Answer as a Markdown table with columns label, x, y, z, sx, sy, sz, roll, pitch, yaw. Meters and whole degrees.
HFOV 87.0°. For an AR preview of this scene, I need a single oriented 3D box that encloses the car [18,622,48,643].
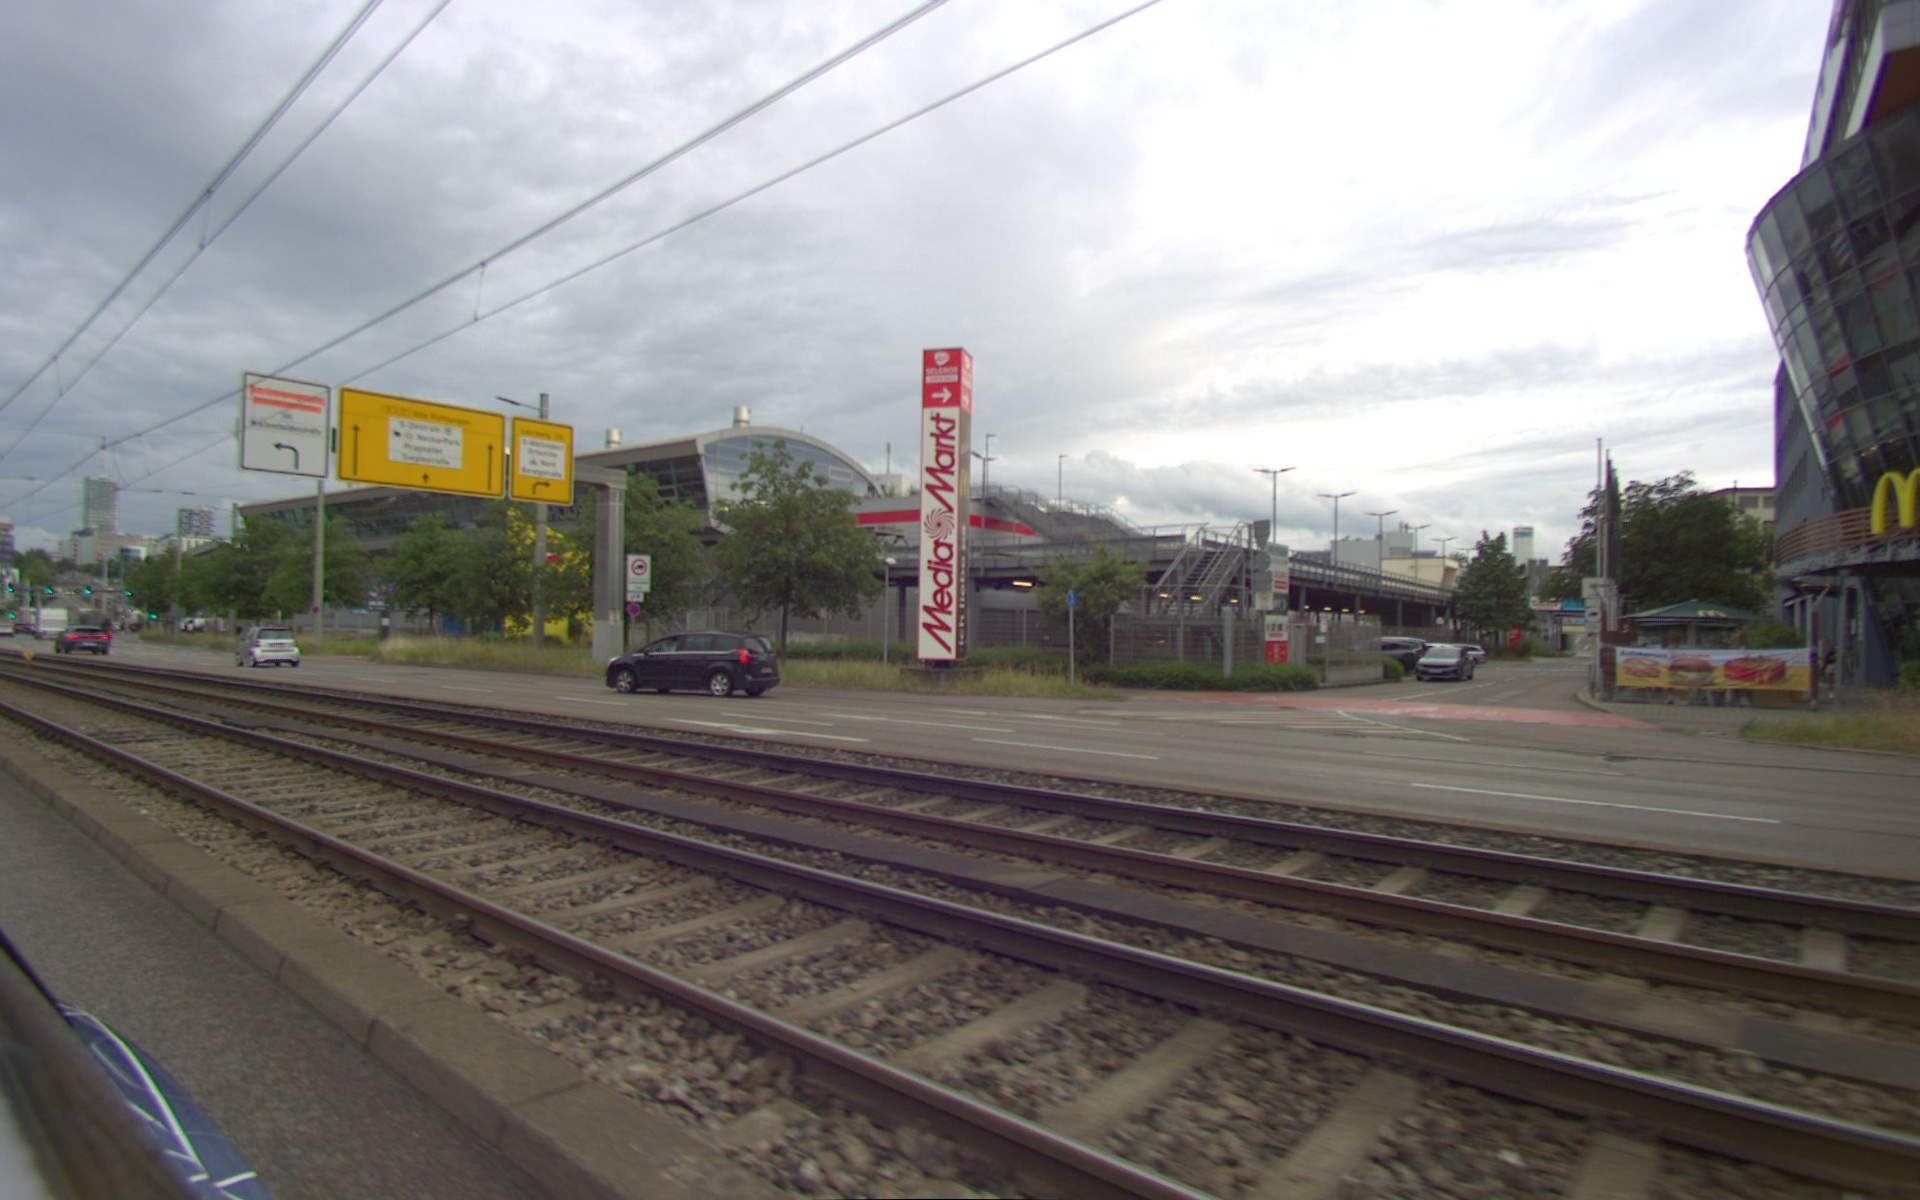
| label | x | y | z | sx | sy | sz | roll | pitch | yaw |
| --- | --- | --- | --- | --- | --- | --- | --- | --- | --- |
| car | -116.784 | 4.156 | 127.433 | 6.550 | 2.519 | 2.405 | -2 | -4 | 45 |

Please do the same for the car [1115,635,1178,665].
| label | x | y | z | sx | sy | sz | roll | pitch | yaw |
| --- | --- | --- | --- | --- | --- | --- | --- | --- | --- |
| car | 9.506 | 2.549 | 51.923 | 1.636 | 1.292 | 4.119 | -1 | 0 | -13 |

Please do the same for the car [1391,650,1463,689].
| label | x | y | z | sx | sy | sz | roll | pitch | yaw |
| --- | --- | --- | --- | --- | --- | --- | --- | --- | --- |
| car | 19.128 | 2.858 | 41.372 | 1.728 | 1.476 | 3.947 | -1 | -5 | 39 |

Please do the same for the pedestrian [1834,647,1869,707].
| label | x | y | z | sx | sy | sz | roll | pitch | yaw |
| --- | --- | --- | --- | --- | --- | --- | --- | --- | --- |
| pedestrian | 26.071 | 2.239 | 29.604 | 0.579 | 1.692 | 0.801 | -1 | -3 | 30 |

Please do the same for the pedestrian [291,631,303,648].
| label | x | y | z | sx | sy | sz | roll | pitch | yaw |
| --- | --- | --- | --- | --- | --- | --- | --- | --- | --- |
| pedestrian | -59.748 | 3.570 | 91.209 | 0.744 | 1.450 | 0.602 | -1 | 0 | 36 |

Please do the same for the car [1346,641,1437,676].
| label | x | y | z | sx | sy | sz | roll | pitch | yaw |
| --- | --- | --- | --- | --- | --- | --- | --- | --- | --- |
| car | 21.324 | 2.896 | 50.170 | 3.966 | 1.638 | 1.773 | -1 | -1 | 18 |

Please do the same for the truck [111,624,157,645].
| label | x | y | z | sx | sy | sz | roll | pitch | yaw |
| --- | --- | --- | --- | --- | --- | --- | --- | --- | --- |
| truck | -157.844 | 6.609 | 193.529 | 4.022 | 3.785 | 10.888 | 1 | -3 | -24 |

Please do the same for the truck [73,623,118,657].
| label | x | y | z | sx | sy | sz | roll | pitch | yaw |
| --- | --- | --- | --- | --- | --- | --- | --- | --- | --- |
| truck | -68.075 | 3.140 | 79.669 | 2.212 | 2.584 | 7.019 | 2 | -3 | -44 |

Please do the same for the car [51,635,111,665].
| label | x | y | z | sx | sy | sz | roll | pitch | yaw |
| --- | --- | --- | --- | --- | --- | --- | --- | --- | --- |
| car | -45.479 | 2.573 | 52.331 | 4.234 | 1.440 | 1.783 | -2 | -4 | 42 |

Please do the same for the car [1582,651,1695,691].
| label | x | y | z | sx | sy | sz | roll | pitch | yaw |
| --- | --- | --- | --- | --- | --- | --- | --- | --- | --- |
| car | 30.028 | 3.100 | 44.936 | 3.983 | 1.581 | 1.749 | -1 | 0 | 29 |

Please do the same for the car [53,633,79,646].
| label | x | y | z | sx | sy | sz | roll | pitch | yaw |
| --- | --- | --- | --- | --- | --- | --- | --- | --- | --- |
| car | -101.692 | 4.509 | 115.151 | 4.424 | 1.500 | 1.876 | -2 | -3 | 44 |

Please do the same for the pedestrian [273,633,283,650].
| label | x | y | z | sx | sy | sz | roll | pitch | yaw |
| --- | --- | --- | --- | --- | --- | --- | --- | --- | --- |
| pedestrian | -63.147 | 3.840 | 93.651 | 0.651 | 1.467 | 0.507 | -1 | 0 | 30 |

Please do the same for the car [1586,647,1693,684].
| label | x | y | z | sx | sy | sz | roll | pitch | yaw |
| --- | --- | --- | --- | --- | --- | --- | --- | --- | --- |
| car | 31.932 | 3.047 | 47.692 | 3.983 | 1.581 | 1.749 | -1 | 0 | 29 |

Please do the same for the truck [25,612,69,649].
| label | x | y | z | sx | sy | sz | roll | pitch | yaw |
| --- | --- | --- | --- | --- | --- | --- | --- | --- | --- |
| truck | -95.208 | 3.146 | 105.518 | 7.154 | 3.383 | 2.697 | 2 | -2 | 43 |

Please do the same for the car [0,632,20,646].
| label | x | y | z | sx | sy | sz | roll | pitch | yaw |
| --- | --- | --- | --- | --- | --- | --- | --- | --- | --- |
| car | -105.741 | 4.346 | 112.244 | 4.440 | 1.510 | 1.786 | -2 | -5 | 42 |

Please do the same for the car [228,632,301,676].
| label | x | y | z | sx | sy | sz | roll | pitch | yaw |
| --- | --- | --- | --- | --- | --- | --- | --- | --- | --- |
| car | -27.076 | 2.084 | 39.397 | 2.949 | 1.548 | 1.581 | 1 | -3 | 41 |

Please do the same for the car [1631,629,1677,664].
| label | x | y | z | sx | sy | sz | roll | pitch | yaw |
| --- | --- | --- | --- | --- | --- | --- | --- | --- | --- |
| car | 39.406 | 2.583 | 57.539 | 1.994 | 1.754 | 3.955 | -1 | 0 | 33 |

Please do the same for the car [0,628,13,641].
| label | x | y | z | sx | sy | sz | roll | pitch | yaw |
| --- | --- | --- | --- | --- | --- | --- | --- | --- | --- |
| car | -128.238 | 4.569 | 135.231 | 4.677 | 1.745 | 1.972 | -2 | -4 | 42 |

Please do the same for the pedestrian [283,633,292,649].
| label | x | y | z | sx | sy | sz | roll | pitch | yaw |
| --- | --- | --- | --- | --- | --- | --- | --- | --- | --- |
| pedestrian | -62.531 | 3.825 | 94.079 | 0.651 | 1.467 | 0.447 | -1 | 0 | 30 |

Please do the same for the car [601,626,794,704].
| label | x | y | z | sx | sy | sz | roll | pitch | yaw |
| --- | --- | --- | --- | --- | --- | --- | --- | --- | --- |
| car | -6.461 | 1.590 | 25.096 | 4.174 | 1.749 | 1.989 | 0 | -4 | 16 |

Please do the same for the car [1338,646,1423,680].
| label | x | y | z | sx | sy | sz | roll | pitch | yaw |
| --- | --- | --- | --- | --- | --- | --- | --- | --- | --- |
| car | 19.829 | 2.957 | 47.810 | 3.463 | 1.532 | 1.672 | 0 | -3 | 14 |

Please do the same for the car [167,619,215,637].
| label | x | y | z | sx | sy | sz | roll | pitch | yaw |
| --- | --- | --- | --- | --- | --- | --- | --- | --- | --- |
| car | -109.152 | 3.998 | 143.700 | 1.988 | 2.350 | 5.022 | -1 | -3 | 24 |

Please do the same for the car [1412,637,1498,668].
| label | x | y | z | sx | sy | sz | roll | pitch | yaw |
| --- | --- | --- | --- | --- | --- | --- | --- | --- | --- |
| car | 27.386 | 2.888 | 56.125 | 3.966 | 1.638 | 1.773 | -1 | -1 | 18 |
